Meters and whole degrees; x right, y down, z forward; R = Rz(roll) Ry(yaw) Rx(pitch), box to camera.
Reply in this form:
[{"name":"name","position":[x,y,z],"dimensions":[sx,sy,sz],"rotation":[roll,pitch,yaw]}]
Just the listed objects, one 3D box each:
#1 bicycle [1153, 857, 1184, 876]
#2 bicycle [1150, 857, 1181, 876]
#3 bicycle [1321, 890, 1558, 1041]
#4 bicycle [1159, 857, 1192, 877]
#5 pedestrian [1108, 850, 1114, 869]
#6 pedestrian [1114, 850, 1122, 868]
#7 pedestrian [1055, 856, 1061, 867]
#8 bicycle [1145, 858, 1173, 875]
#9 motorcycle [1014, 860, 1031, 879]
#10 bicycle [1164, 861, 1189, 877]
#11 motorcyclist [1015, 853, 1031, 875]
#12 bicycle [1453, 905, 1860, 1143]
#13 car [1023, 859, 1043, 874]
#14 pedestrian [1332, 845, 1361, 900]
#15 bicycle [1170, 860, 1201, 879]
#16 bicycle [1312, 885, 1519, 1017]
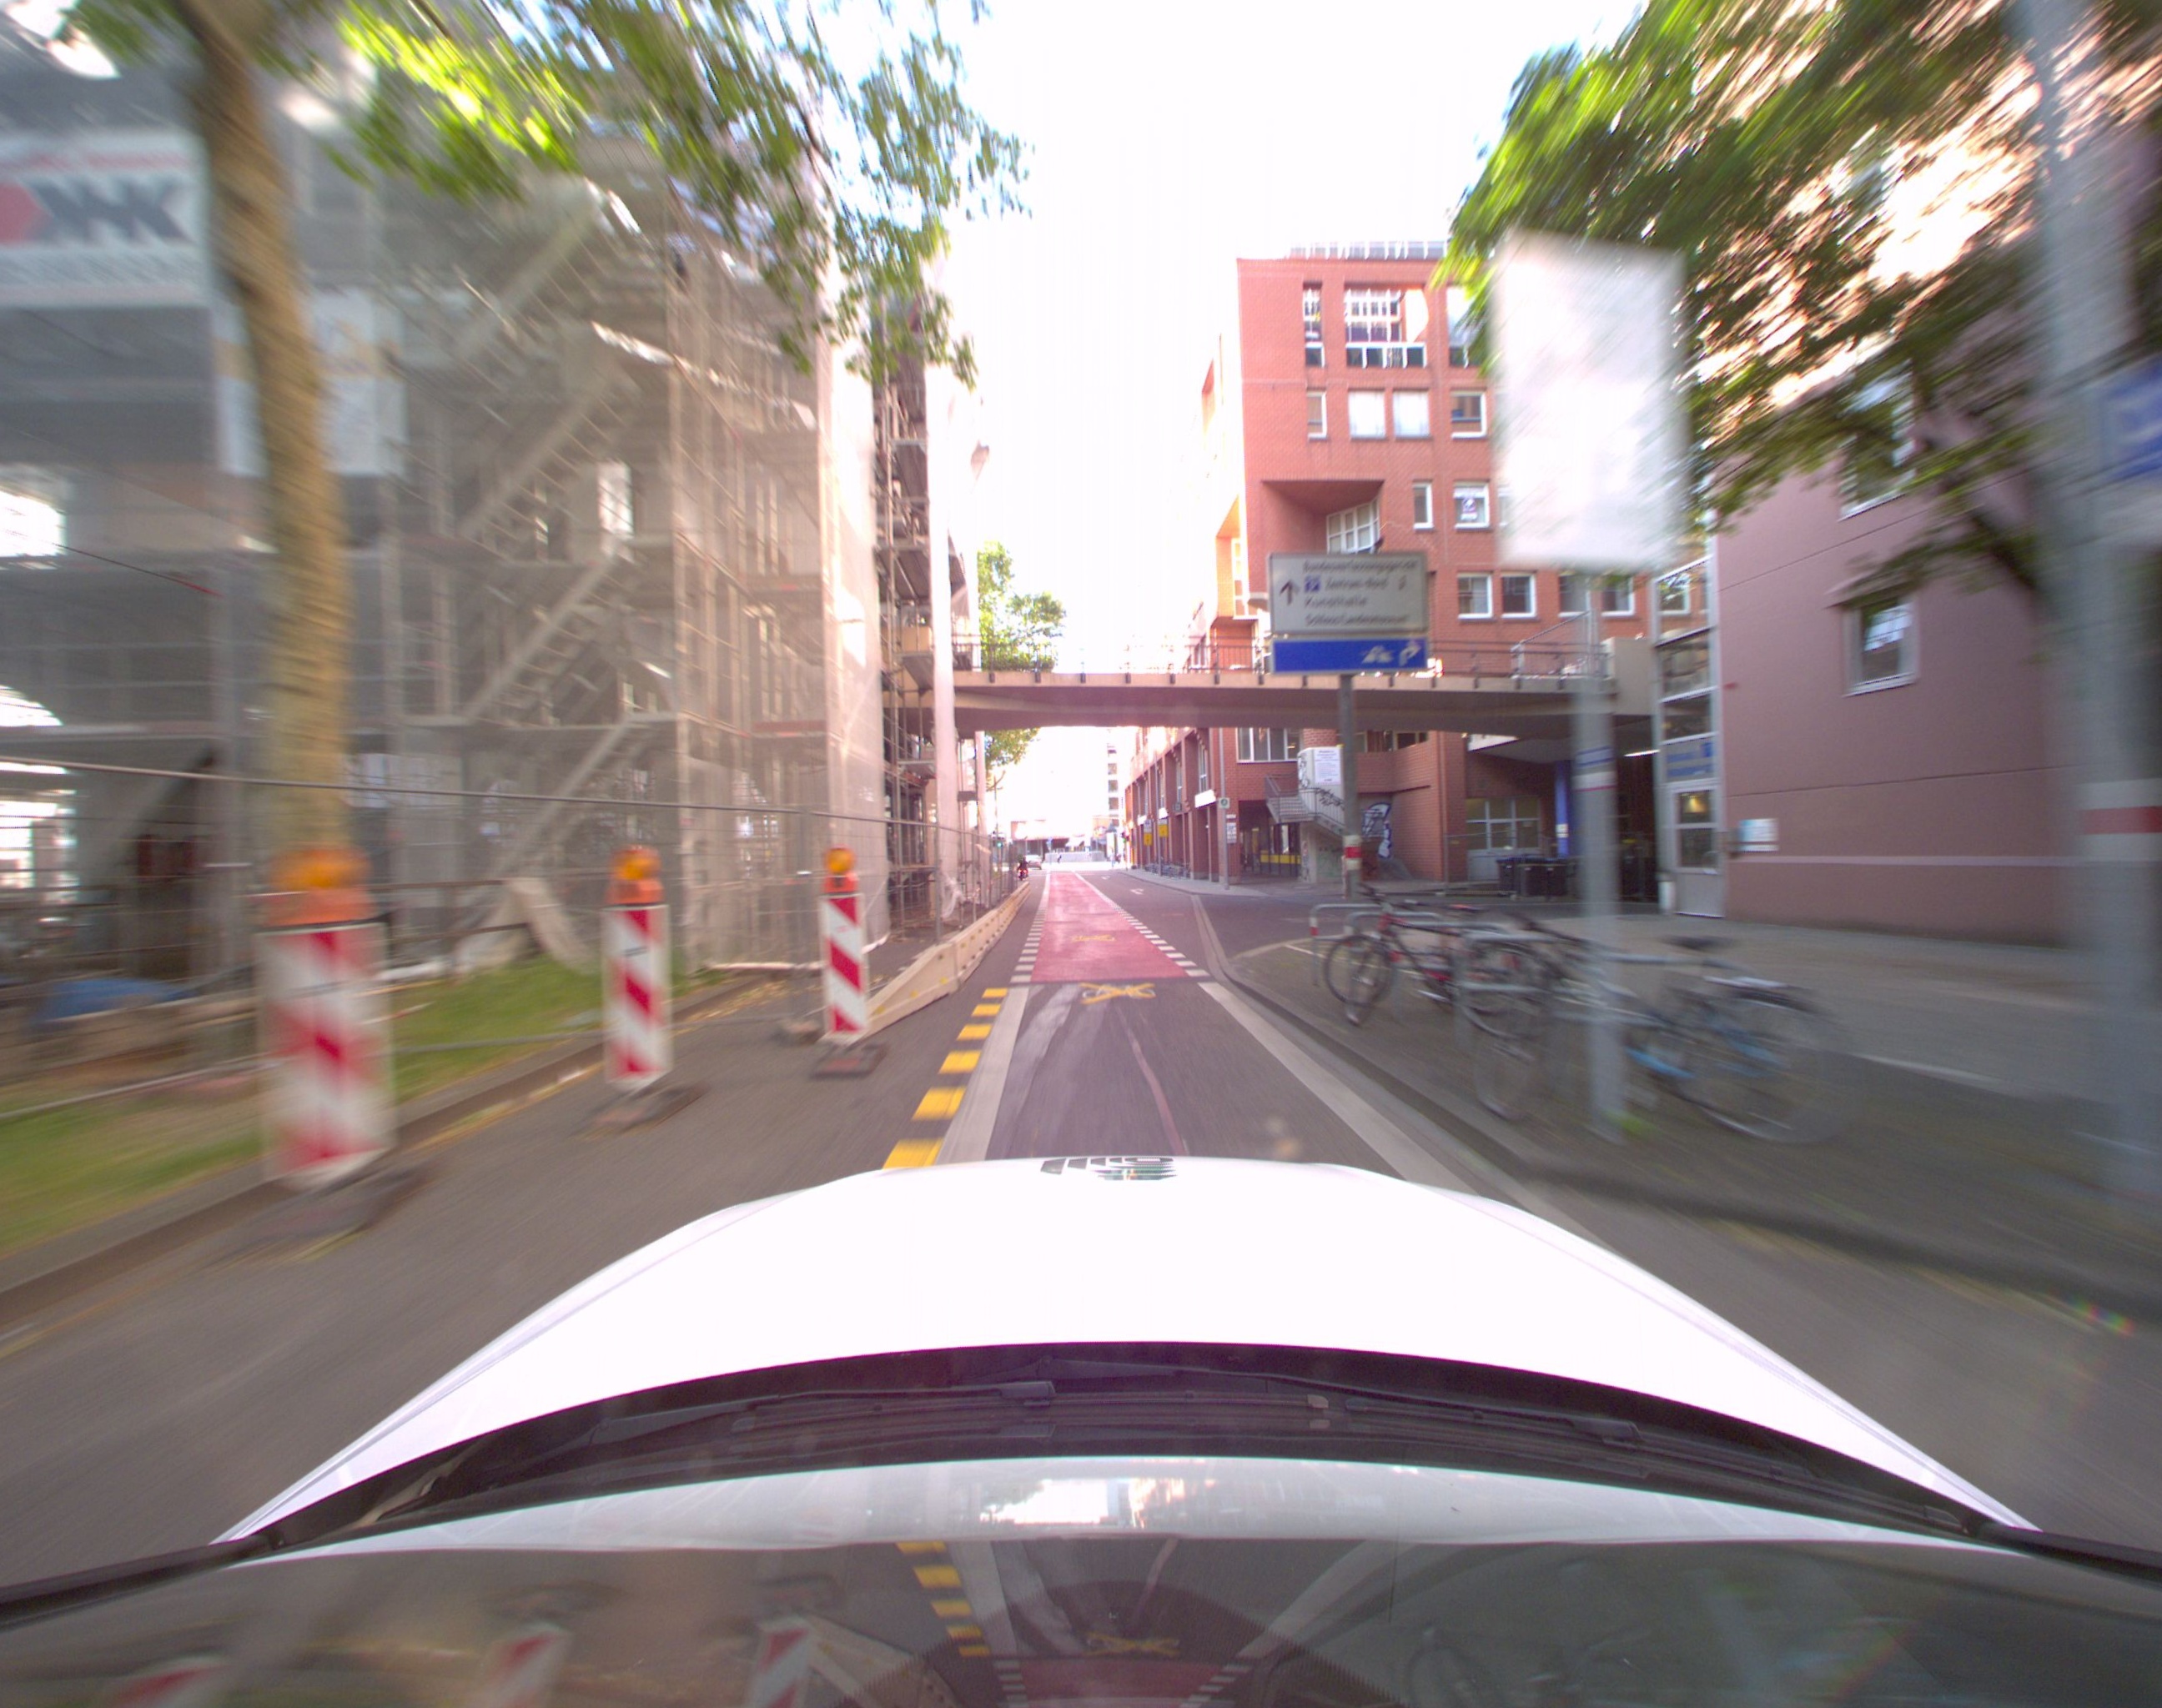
[{"name":"bicycle","position":[5.615,0.817,52.362],"dimensions":[1.887,1.119,0.550],"rotation":[-3,0,-3]},{"name":"bicycle","position":[5.499,0.825,52.968],"dimensions":[1.887,1.119,0.474],"rotation":[-3,0,-3]},{"name":"bicycle","position":[2.852,0.837,6.546],"dimensions":[1.661,1.067,0.504],"rotation":[-2,0,31]},{"name":"bicycle","position":[5.745,0.775,49.605],"dimensions":[1.926,1.057,0.573],"rotation":[-4,0,0]},{"name":"pedestrian","position":[2.878,0.514,77.316],"dimensions":[0.474,1.792,0.540],"rotation":[-2,0,-3]},{"name":"pedestrian","position":[3.537,0.496,77.381],"dimensions":[0.632,1.725,0.629],"rotation":[-2,0,-3]},{"name":"pedestrian","position":[-3.224,1.056,112.538],"dimensions":[0.550,1.583,0.544],"rotation":[-2,0,45]},{"name":"bicycle","position":[5.408,0.860,56.509],"dimensions":[1.887,1.119,0.474],"rotation":[-3,0,-3]},{"name":"motorcycle","position":[-3.693,0.982,51.693],"dimensions":[0.971,1.132,2.802],"rotation":[-1,0,-3]},{"name":"bicycle","position":[5.659,0.897,48.252],"dimensions":[1.330,0.841,0.424],"rotation":[-5,0,-1]},{"name":"motorcyclist","position":[-3.695,0.625,51.601],"dimensions":[0.968,1.347,1.136],"rotation":[-1,0,-3]},{"name":"bicycle","position":[2.914,0.825,4.310],"dimensions":[1.663,1.067,0.514],"rotation":[-2,0,20]},{"name":"car","position":[-4.839,1.211,81.366],"dimensions":[1.920,1.388,3.994],"rotation":[-2,0,-4]},{"name":"pedestrian","position":[8.073,0.557,24.786],"dimensions":[0.568,1.633,0.777],"rotation":[-1,0,-4]},{"name":"bicycle","position":[5.814,0.854,45.507],"dimensions":[1.607,0.955,0.555],"rotation":[-5,0,-1]},{"name":"bicycle","position":[3.014,0.830,7.407],"dimensions":[1.661,1.067,0.504],"rotation":[-2,0,31]}]
